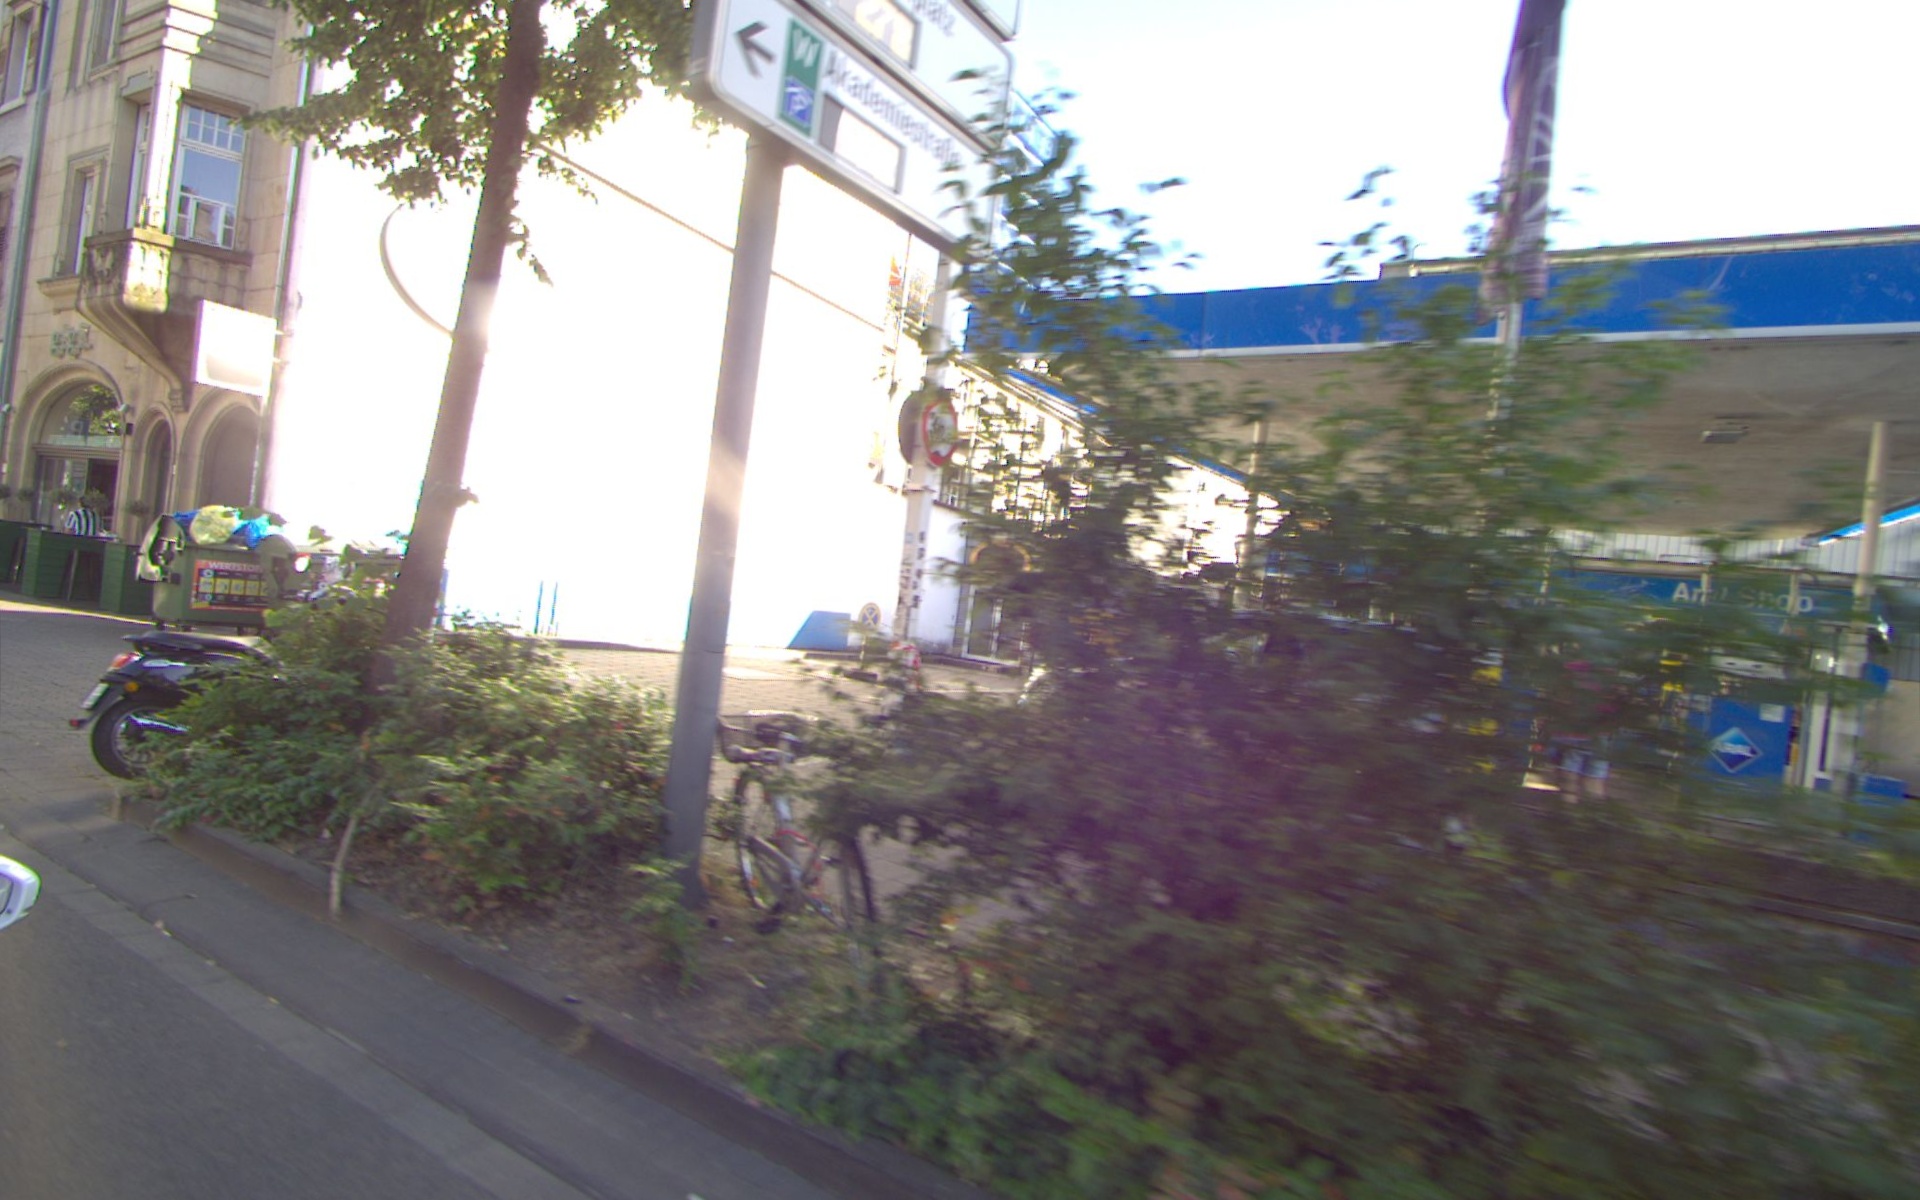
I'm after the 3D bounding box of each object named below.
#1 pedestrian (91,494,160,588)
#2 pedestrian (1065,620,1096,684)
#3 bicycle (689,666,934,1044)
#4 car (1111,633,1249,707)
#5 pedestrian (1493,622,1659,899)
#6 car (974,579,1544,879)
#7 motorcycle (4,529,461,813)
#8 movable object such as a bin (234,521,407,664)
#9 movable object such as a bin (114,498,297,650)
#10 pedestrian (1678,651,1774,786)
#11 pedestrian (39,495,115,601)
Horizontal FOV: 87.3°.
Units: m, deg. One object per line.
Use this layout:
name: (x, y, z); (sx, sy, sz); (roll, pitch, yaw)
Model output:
pedestrian: (-15.138, -1.061, 18.258); (0.602, 1.585, 0.698); (7, 1, 31)
pedestrian: (3.268, 1.411, 27.363); (0.536, 1.657, 0.547); (7, 1, 21)
bicycle: (-0.664, 0.856, 3.926); (0.431, 1.001, 1.662); (6, 0, -23)
car: (5.598, 1.776, 25.237); (1.968, 1.482, 3.990); (7, -1, 33)
pedestrian: (4.539, 1.139, 7.467); (0.696, 1.873, 0.688); (7, 1, 16)
car: (2.484, 0.914, 8.704); (4.224, 1.668, 1.902); (7, 0, 33)
motorcycle: (-4.240, 0.403, 6.108); (0.895, 1.346, 1.984); (7, -1, 19)
movable object such as a bin: (-7.797, -0.068, 12.302); (1.157, 1.549, 1.272); (7, 0, 30)
movable object such as a bin: (-9.290, -0.306, 12.409); (1.473, 1.648, 1.207); (7, 0, 30)
pedestrian: (10.843, 1.661, 14.277); (0.807, 1.763, 0.816); (7, -1, 30)
pedestrian: (-13.898, -0.811, 15.841); (0.687, 1.559, 0.611); (7, 1, 31)
